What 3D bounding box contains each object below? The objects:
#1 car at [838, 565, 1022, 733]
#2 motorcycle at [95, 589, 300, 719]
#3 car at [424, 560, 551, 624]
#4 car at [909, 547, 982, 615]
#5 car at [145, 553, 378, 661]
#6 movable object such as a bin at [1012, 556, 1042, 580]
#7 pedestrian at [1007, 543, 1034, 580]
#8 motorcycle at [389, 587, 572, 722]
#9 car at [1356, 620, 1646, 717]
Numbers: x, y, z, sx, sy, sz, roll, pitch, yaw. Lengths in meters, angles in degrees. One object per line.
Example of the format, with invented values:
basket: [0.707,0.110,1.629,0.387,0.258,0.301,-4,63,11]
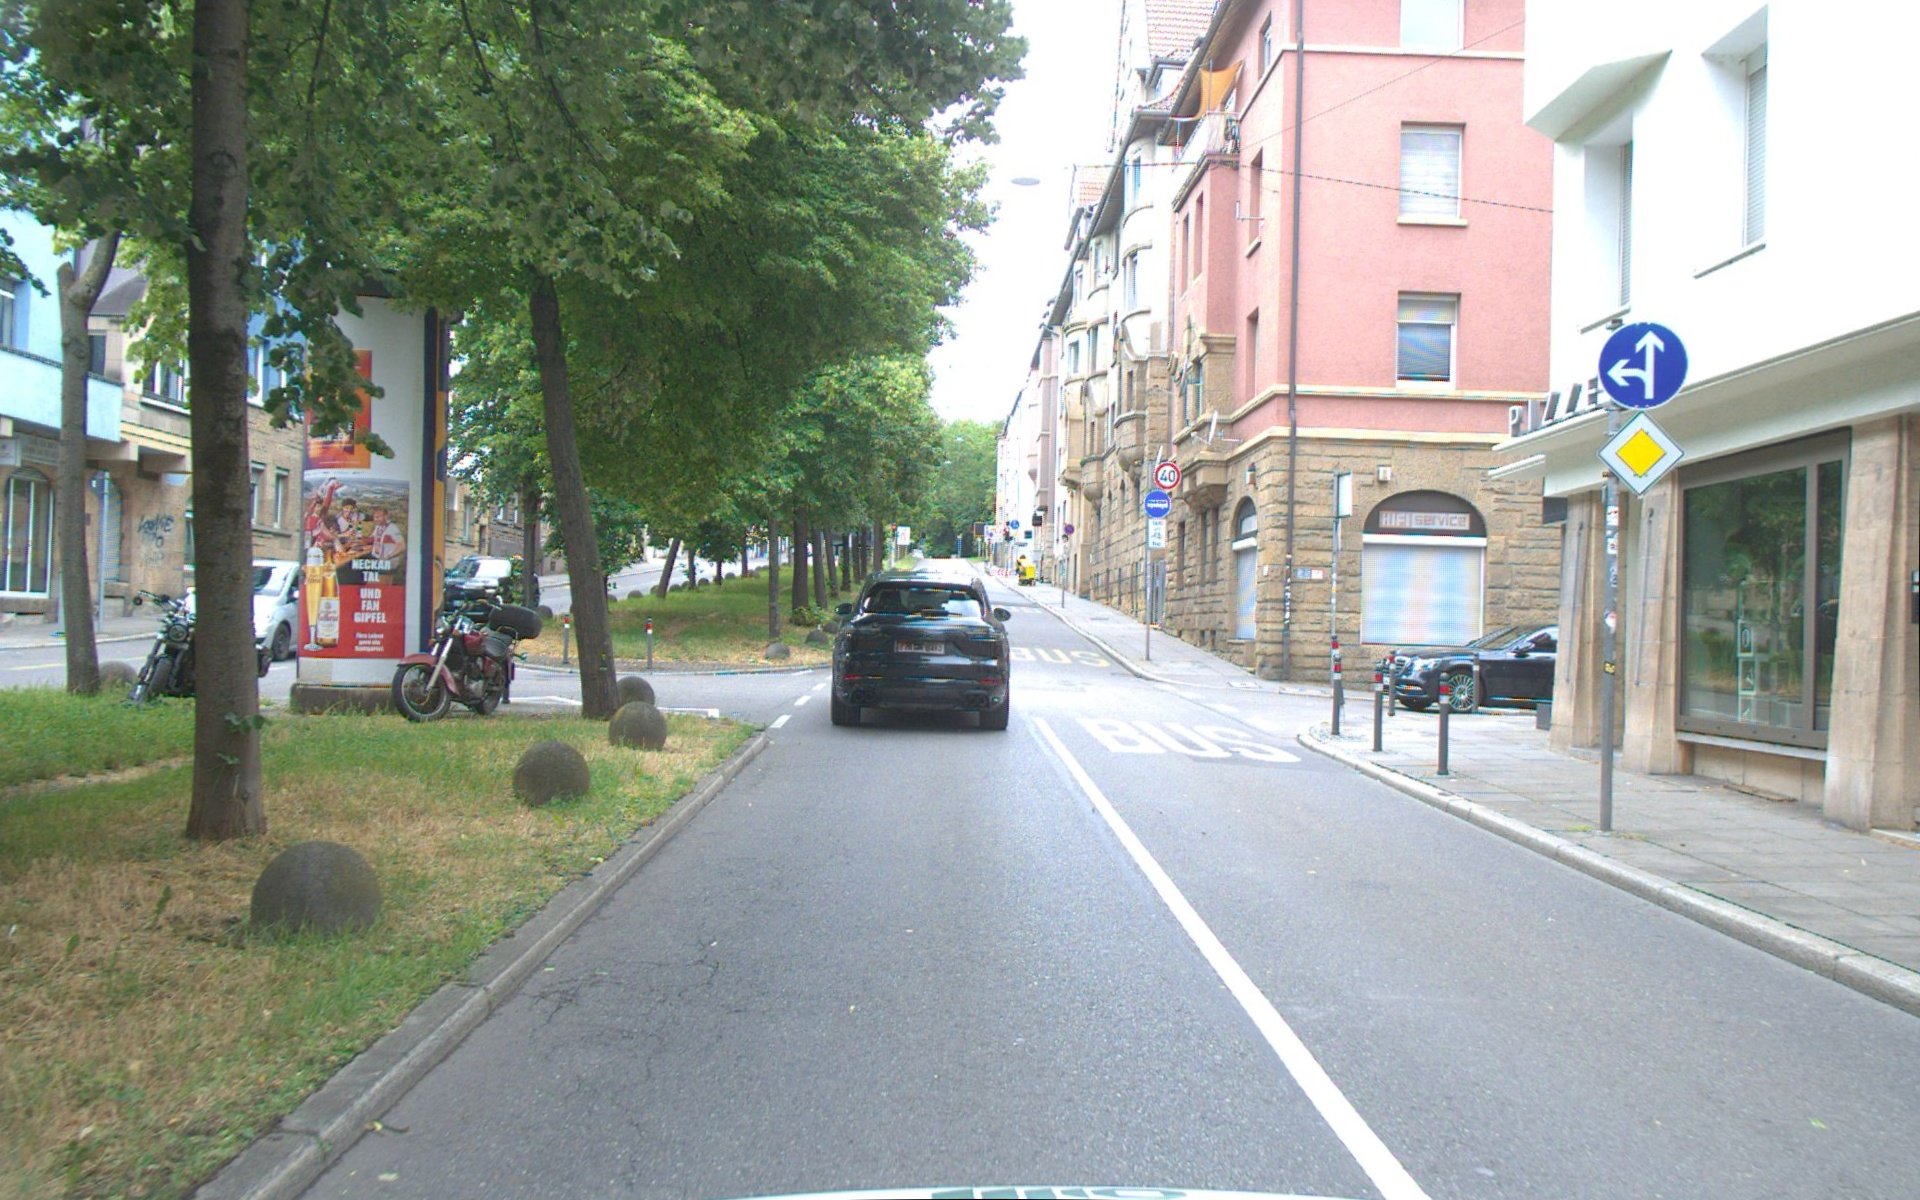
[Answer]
car: [-0.397,0.494,19.251,1.865,1.695,4.133,1,0,-3]
motorcycle: [-7.125,0.495,15.614,0.882,1.126,2.251,1,-1,0]
car: [-11.920,-0.228,42.062,1.953,1.509,4.531,1,1,-1]
car: [-0.407,-0.529,46.863,1.953,1.784,4.000,1,0,-1]
car: [-11.721,0.076,28.168,1.953,1.652,4.815,1,1,-1]
movable object such as a bin: [3.731,-1.762,92.026,1.216,1.296,1.840,1,0,-13]
pedestrian: [3.392,-2.144,93.417,1.278,2.049,1.017,1,0,-13]
motorcycle: [-4.510,0.470,15.796,1.041,1.168,2.448,1,0,0]
car: [8.509,1.052,26.160,3.917,1.400,1.994,0,0,-12]
